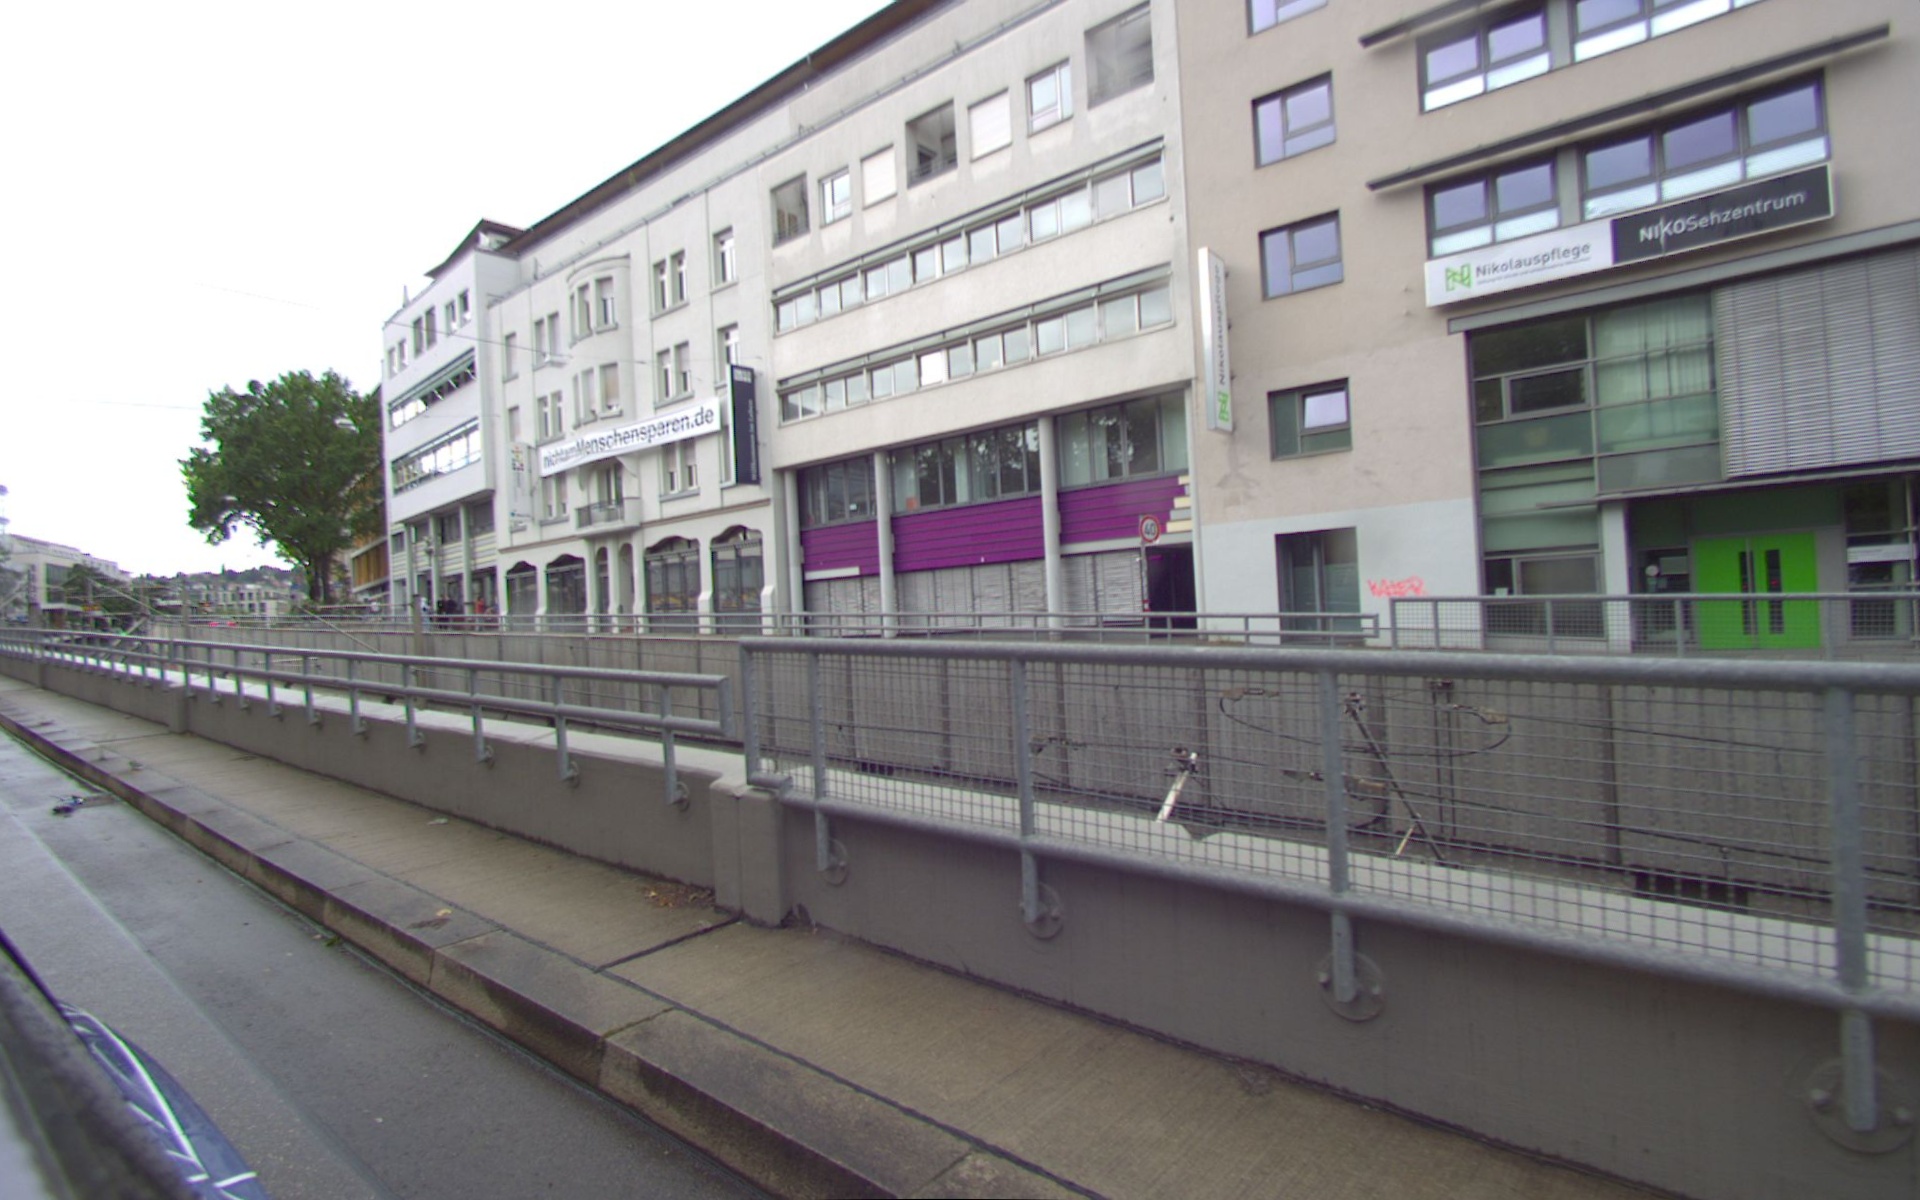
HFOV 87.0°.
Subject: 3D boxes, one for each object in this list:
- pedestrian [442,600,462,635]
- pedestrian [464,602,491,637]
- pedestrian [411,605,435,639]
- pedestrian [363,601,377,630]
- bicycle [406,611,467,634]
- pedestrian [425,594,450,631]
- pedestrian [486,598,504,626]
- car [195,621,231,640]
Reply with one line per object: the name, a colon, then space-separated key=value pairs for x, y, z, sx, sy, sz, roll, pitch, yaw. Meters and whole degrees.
pedestrian: x=-25.219 y=0.858 z=50.258 sx=0.601 sy=1.735 sz=0.673 roll=-2 pitch=0 yaw=1
pedestrian: x=-23.005 y=0.908 z=48.254 sx=0.937 sy=1.628 sz=0.667 roll=-2 pitch=0 yaw=27
pedestrian: x=-26.440 y=1.063 z=49.803 sx=0.784 sy=1.655 sz=0.674 roll=-2 pitch=0 yaw=-2
pedestrian: x=-38.919 y=1.018 z=66.792 sx=0.657 sy=1.863 sz=0.831 roll=1 pitch=-2 yaw=-40
bicycle: x=-28.584 y=1.204 z=55.210 sx=1.673 sy=1.051 sz=4.525 roll=-3 pitch=2 yaw=-44
pedestrian: x=-26.287 y=0.628 z=50.923 sx=0.937 sy=1.798 sz=0.667 roll=-2 pitch=0 yaw=27
pedestrian: x=-23.715 y=0.608 z=51.584 sx=0.600 sy=1.430 sz=0.674 roll=-2 pitch=0 yaw=-44
car: x=-69.075 y=2.816 z=93.571 sx=4.577 sy=1.726 sz=1.816 roll=-2 pitch=-1 yaw=43
